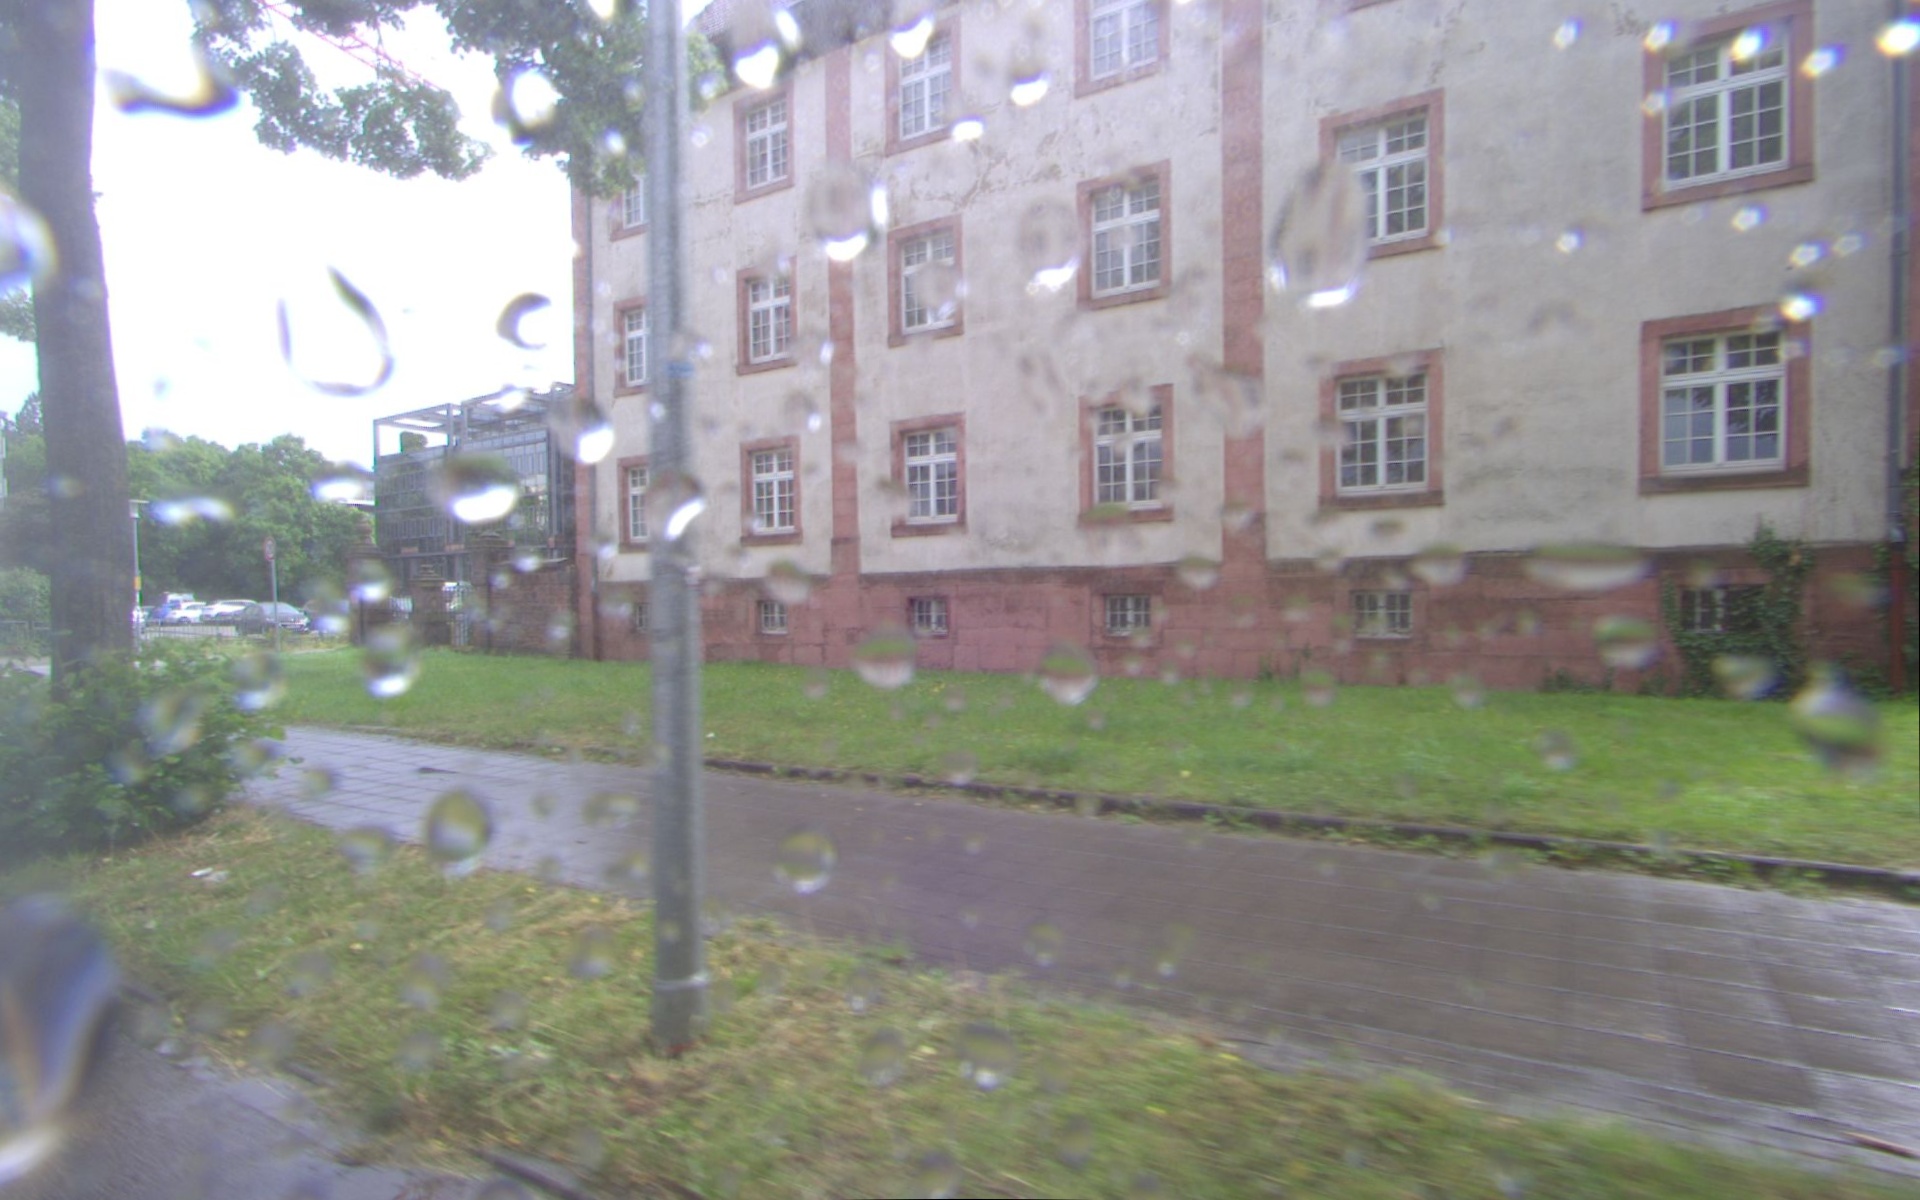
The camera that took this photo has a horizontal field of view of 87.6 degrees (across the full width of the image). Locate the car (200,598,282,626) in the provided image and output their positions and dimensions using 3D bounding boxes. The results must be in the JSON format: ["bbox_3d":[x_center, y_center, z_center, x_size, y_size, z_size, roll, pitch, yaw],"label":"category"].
[{"bbox_3d":[-42.706,0.697,59.536,1.617,1.506,3.654,0,1,36],"label":"car"}]

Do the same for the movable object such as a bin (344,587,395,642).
[{"bbox_3d":[-16.424,0.385,27.855,1.081,1.477,0.797,0,3,34],"label":"movable object such as a bin"}]

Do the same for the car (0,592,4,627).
[{"bbox_3d":[-43.184,0.437,43.535,3.369,1.468,1.606,0,1,33],"label":"car"}]

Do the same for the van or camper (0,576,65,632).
[{"bbox_3d":[-45.327,0.219,46.695,2.145,2.588,4.985,-1,0,34],"label":"van or camper"}]

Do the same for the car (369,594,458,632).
[{"bbox_3d":[-25.516,0.583,46.719,4.363,1.702,1.847,0,1,35],"label":"car"}]

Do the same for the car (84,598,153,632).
[{"bbox_3d":[-39.922,0.667,47.487,3.668,1.506,1.643,1,2,36],"label":"car"}]

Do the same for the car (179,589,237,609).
[{"bbox_3d":[-56.752,-0.095,75.615,1.489,1.416,3.214,0,1,36],"label":"car"}]

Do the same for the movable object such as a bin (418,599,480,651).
[{"bbox_3d":[-15.293,0.731,29.981,1.371,1.477,1.103,0,3,34],"label":"movable object such as a bin"}]

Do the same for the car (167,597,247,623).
[{"bbox_3d":[-46.987,0.629,62.497,1.617,1.506,3.654,0,1,36],"label":"car"}]

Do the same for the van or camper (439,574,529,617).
[{"bbox_3d":[-30.384,-0.244,64.011,2.226,2.518,4.778,-1,-2,32],"label":"van or camper"}]

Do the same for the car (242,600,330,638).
[{"bbox_3d":[-29.009,0.789,43.061,4.367,1.547,1.822,0,1,38],"label":"car"}]
